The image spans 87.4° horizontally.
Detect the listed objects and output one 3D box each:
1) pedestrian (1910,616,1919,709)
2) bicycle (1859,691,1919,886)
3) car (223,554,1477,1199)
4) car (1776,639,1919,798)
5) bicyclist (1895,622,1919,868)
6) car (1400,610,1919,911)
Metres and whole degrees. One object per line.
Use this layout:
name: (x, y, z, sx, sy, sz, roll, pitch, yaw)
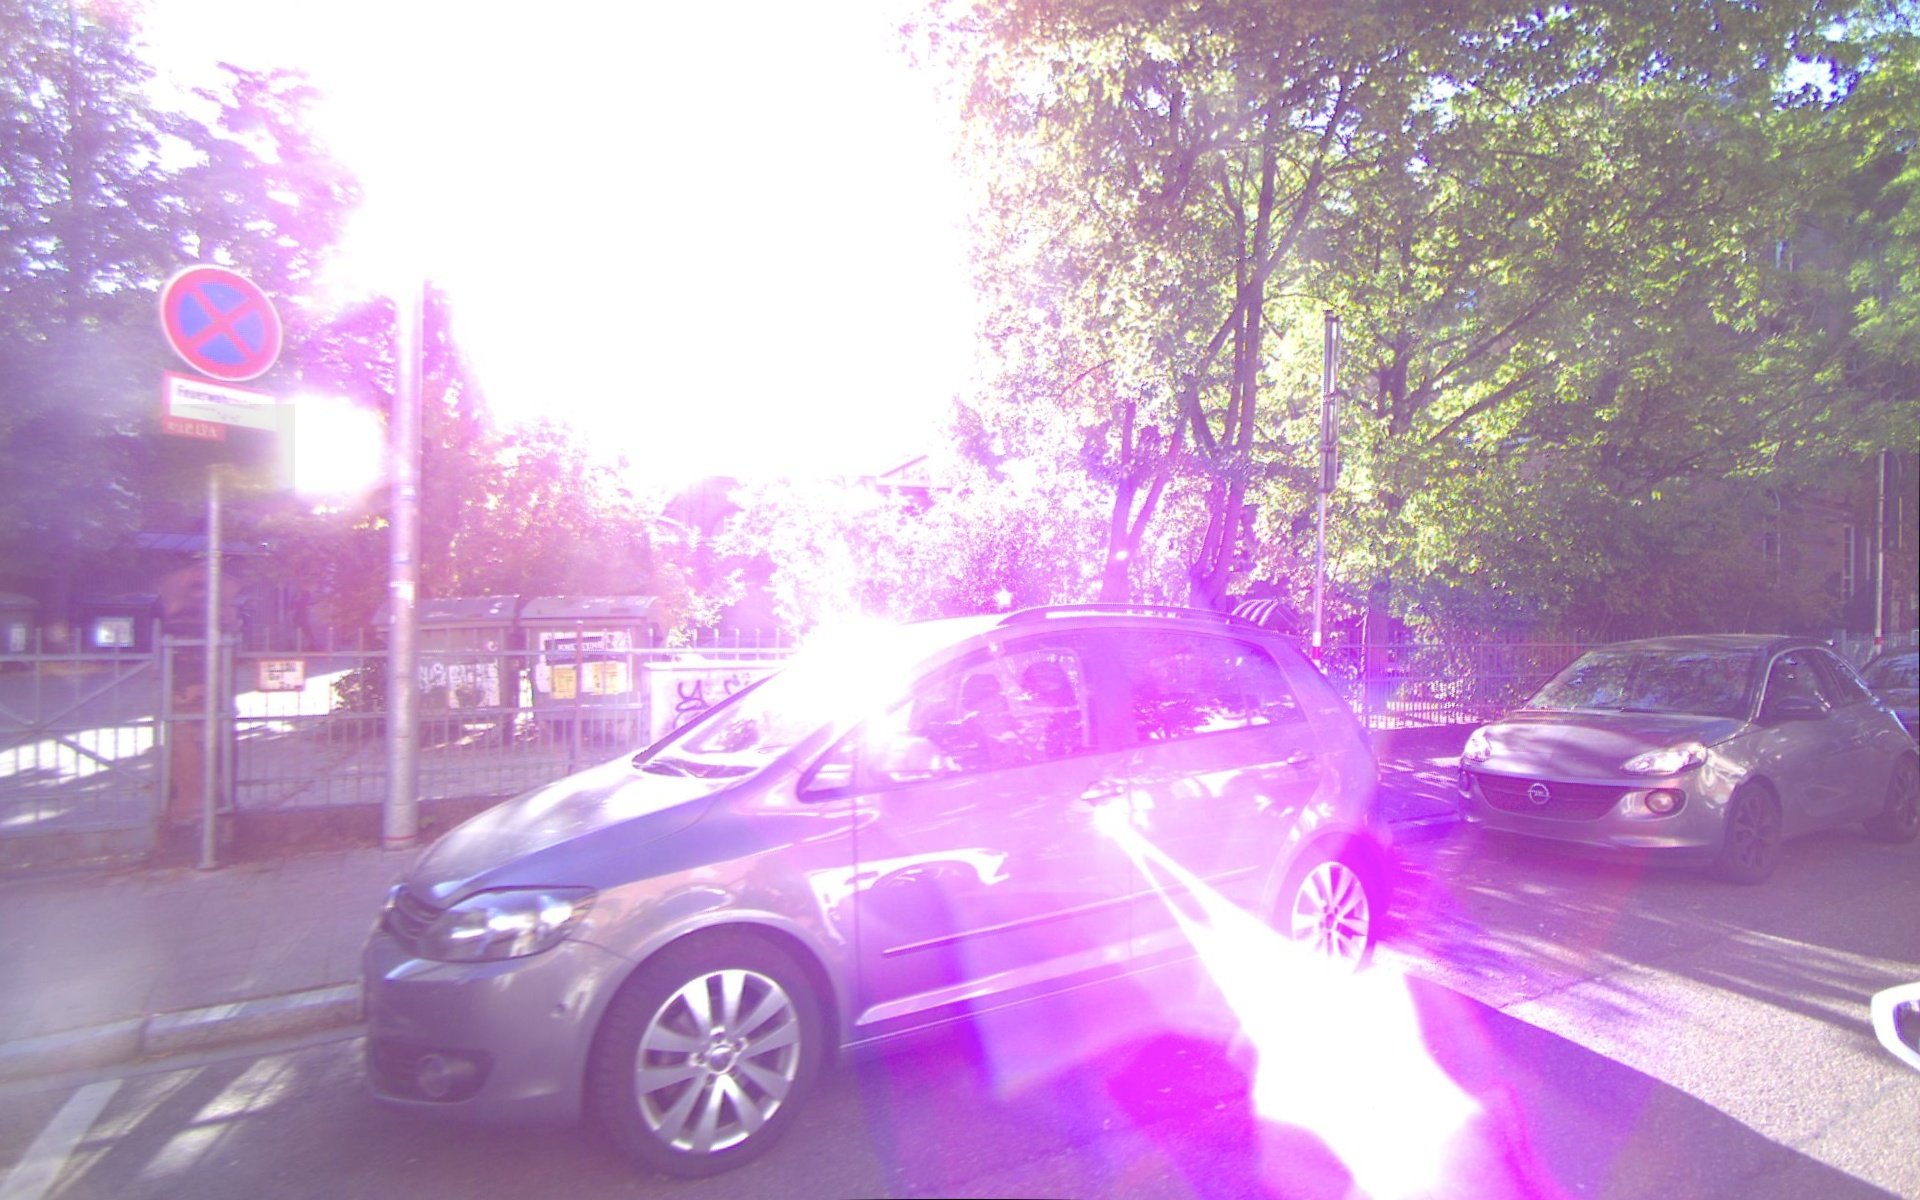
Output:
pedestrian: (17.010, 1.084, 17.254, 0.523, 1.598, 0.877, 1, 0, -29)
bicycle: (6.336, 1.130, 6.180, 1.664, 1.091, 0.662, 1, 0, -28)
car: (-0.100, 0.770, 4.036, 4.417, 1.611, 1.772, 1, -3, -31)
car: (10.515, 1.100, 10.361, 4.725, 1.413, 1.706, 1, -5, -31)
bicyclist: (6.353, 0.912, 6.218, 0.617, 1.529, 0.649, 1, 0, -28)
car: (5.208, 0.917, 7.101, 4.101, 1.593, 1.669, 0, -4, -29)
